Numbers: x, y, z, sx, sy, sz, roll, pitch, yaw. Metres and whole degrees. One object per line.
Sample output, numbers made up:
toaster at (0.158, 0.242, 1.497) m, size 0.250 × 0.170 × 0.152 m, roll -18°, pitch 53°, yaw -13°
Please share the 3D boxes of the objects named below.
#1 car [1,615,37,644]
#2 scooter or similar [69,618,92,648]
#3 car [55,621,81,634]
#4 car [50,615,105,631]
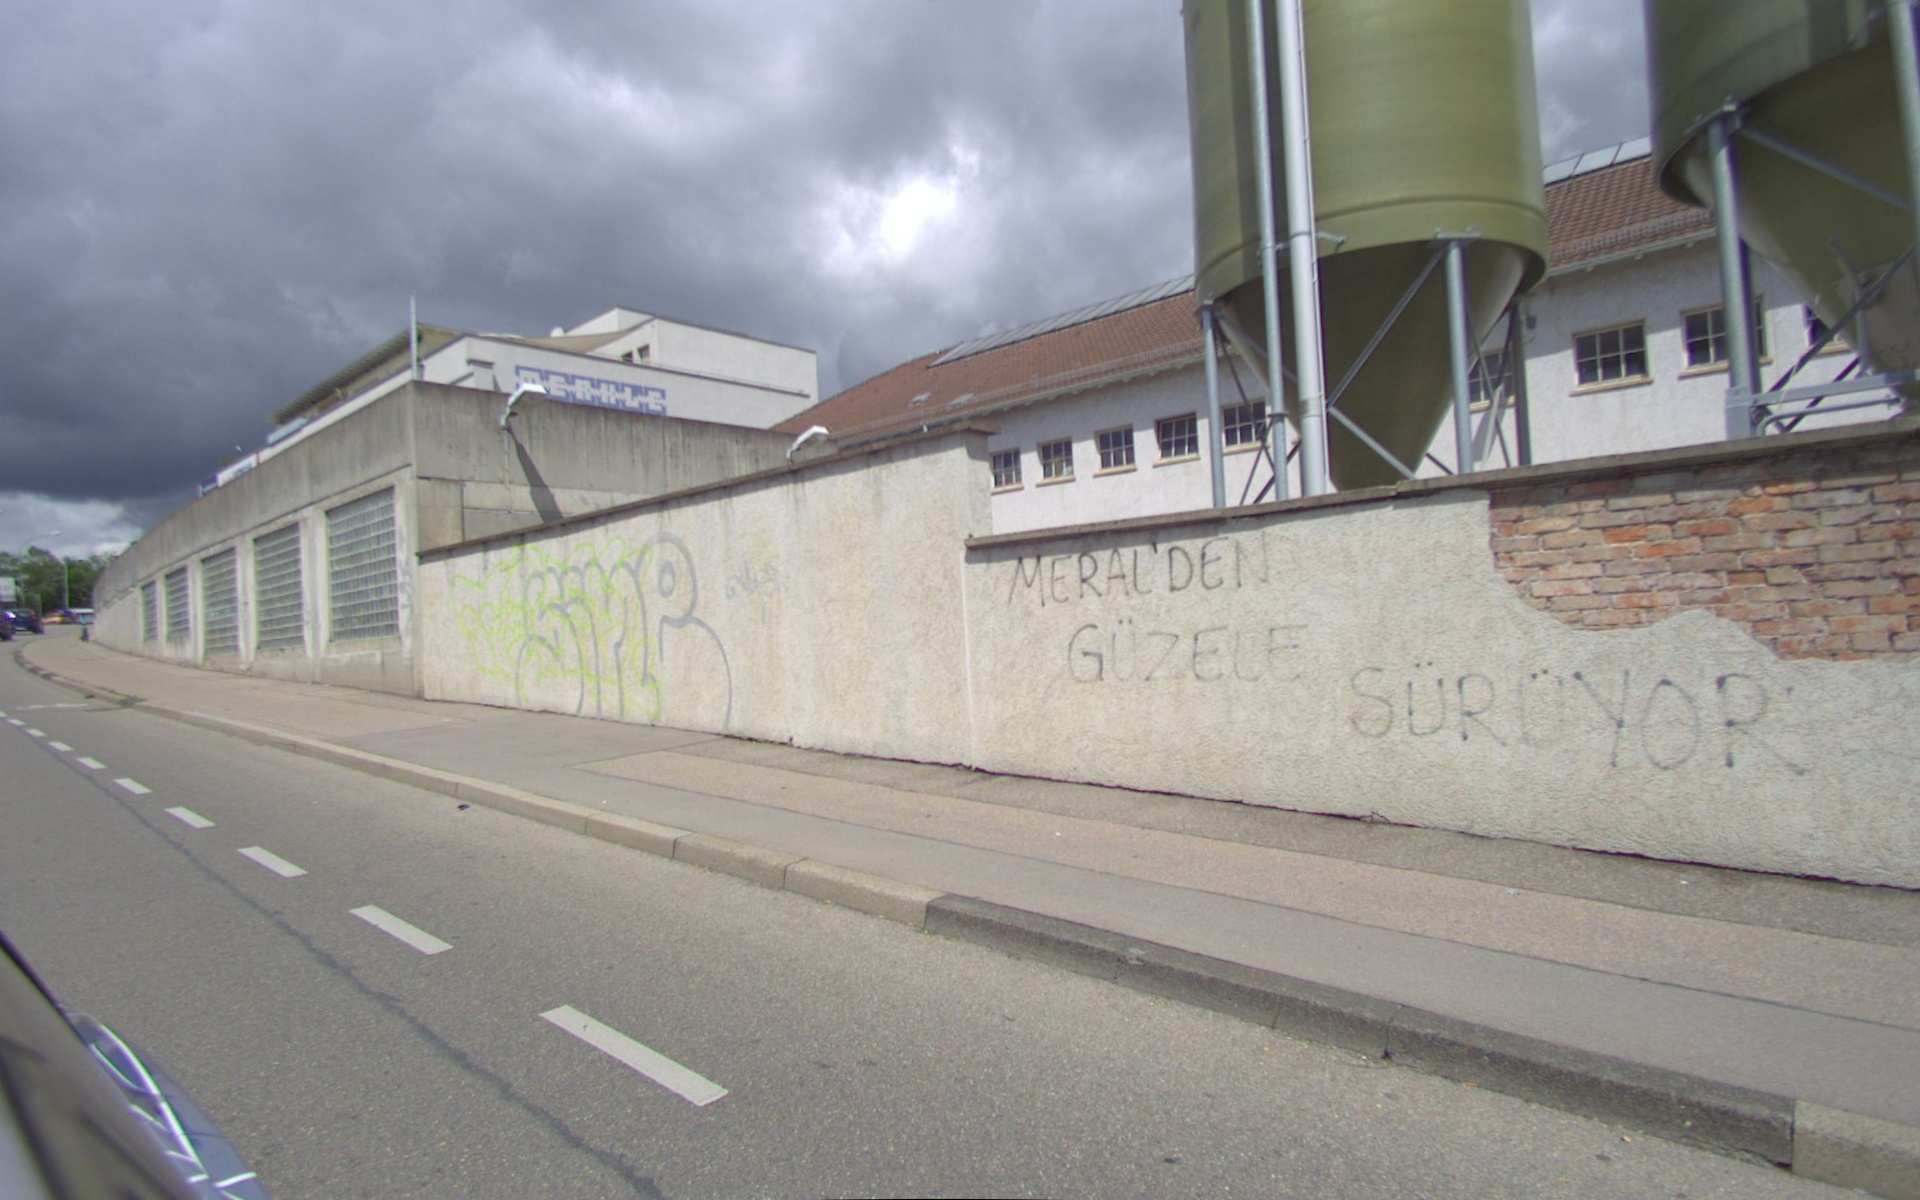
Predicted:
car at (-61.176, 1.903, 65.797) m, size 1.607 × 1.831 × 3.782 m, roll 1°, pitch -1°, yaw -44°
scooter or similar at (-39.374, 1.453, 45.311) m, size 1.382 × 1.285 × 0.514 m, roll -1°, pitch 2°, yaw 41°
car at (-108.523, 3.331, 123.123) m, size 1.579 × 1.502 × 3.693 m, roll -1°, pitch 0°, yaw -29°
car at (-115.858, 3.018, 132.955) m, size 1.950 × 1.984 × 5.090 m, roll -1°, pitch 0°, yaw 24°
